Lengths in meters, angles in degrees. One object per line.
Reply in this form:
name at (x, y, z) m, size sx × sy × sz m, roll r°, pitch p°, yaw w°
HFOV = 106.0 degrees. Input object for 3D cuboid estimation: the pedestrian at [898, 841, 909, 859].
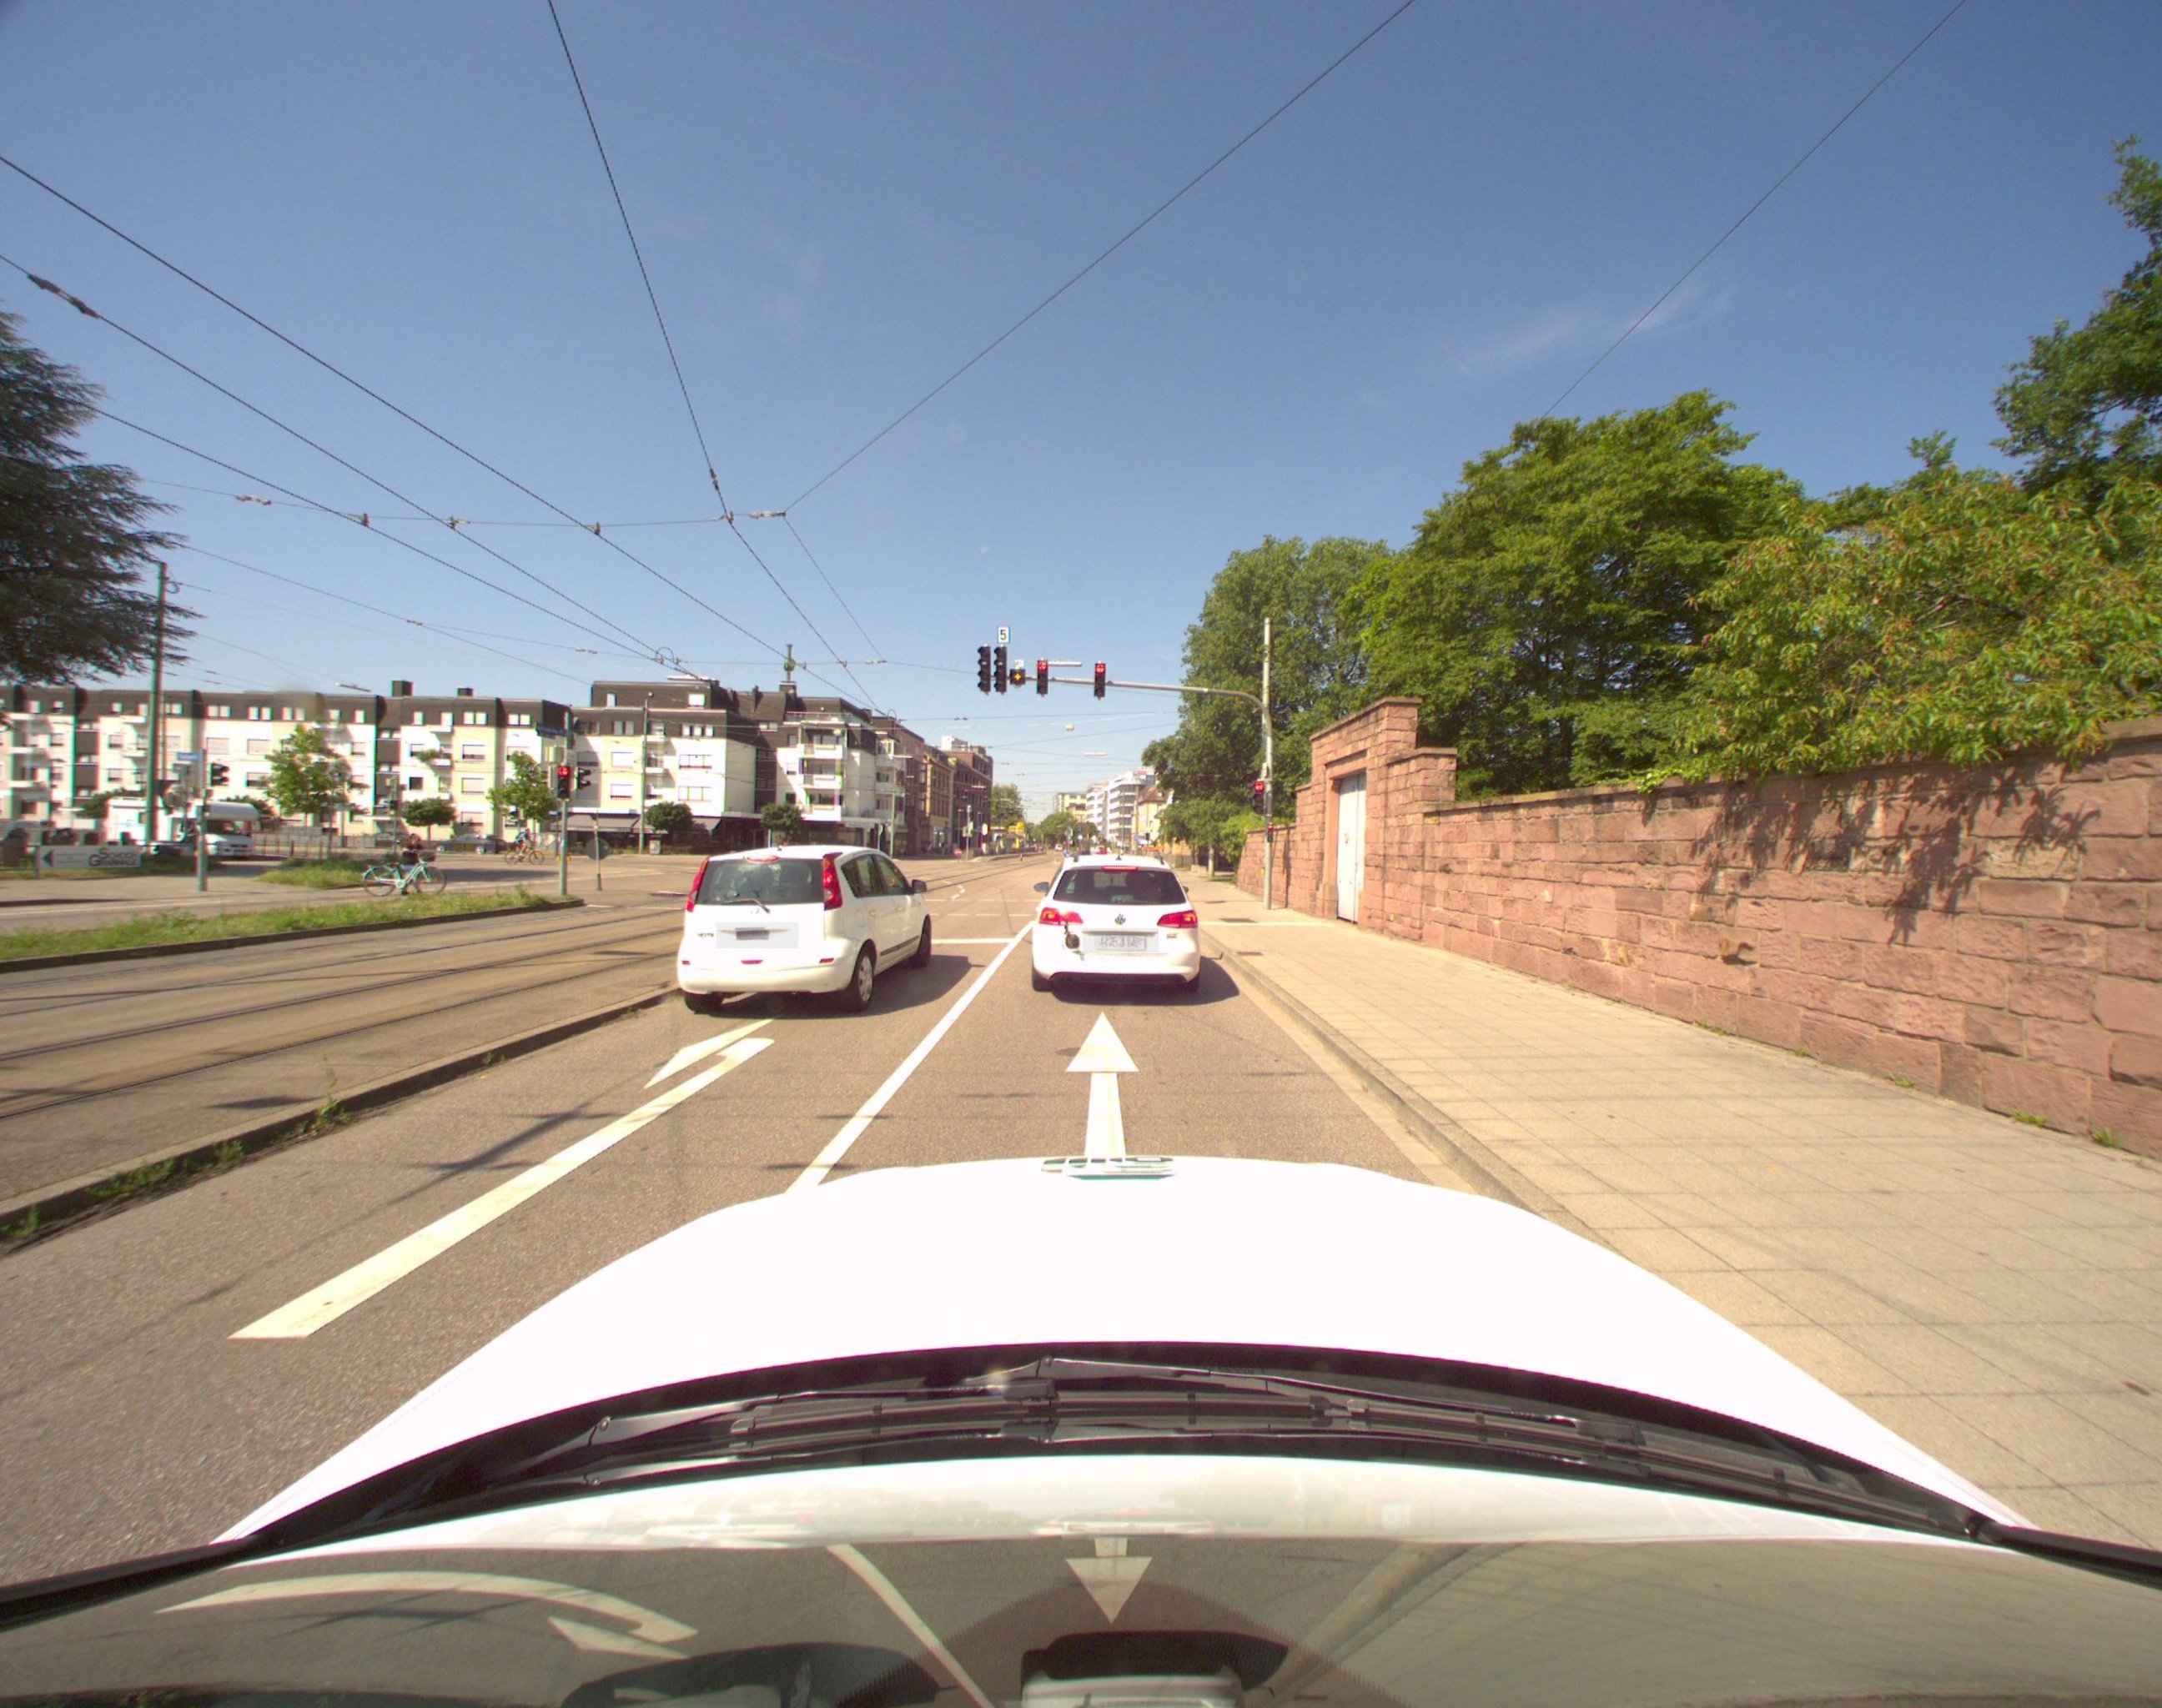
pedestrian at (-17.977, -0.382, 82.531) m, size 0.857 × 1.743 × 0.976 m, roll -1°, pitch -1°, yaw 6°

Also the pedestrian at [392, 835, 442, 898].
pedestrian at (-16.907, 0.313, 20.740) m, size 0.746 × 1.571 × 0.672 m, roll 1°, pitch 0°, yaw -13°

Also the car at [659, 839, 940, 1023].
car at (-2.758, 0.629, 8.922) m, size 1.636 × 1.566 × 3.805 m, roll 0°, pitch 1°, yaw 2°

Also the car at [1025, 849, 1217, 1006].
car at (0.436, 0.682, 9.672) m, size 1.801 × 1.448 × 4.002 m, roll 0°, pitch 0°, yaw 2°

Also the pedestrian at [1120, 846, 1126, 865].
pedestrian at (5.151, 0.140, 100.008) m, size 0.687 × 2.325 × 1.233 m, roll -1°, pitch -1°, yaw 3°

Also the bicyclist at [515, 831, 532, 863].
bicyclist at (-28.165, -0.347, 41.172) m, size 0.640 × 1.612 × 0.557 m, roll 0°, pitch -1°, yaw -28°

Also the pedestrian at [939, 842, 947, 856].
pedestrian at (-17.071, -0.608, 100.583) m, size 0.860 × 1.743 × 0.973 m, roll -1°, pitch -1°, yaw -4°

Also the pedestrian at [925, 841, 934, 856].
pedestrian at (-17.639, -0.658, 94.714) m, size 0.860 × 1.743 × 0.973 m, roll -1°, pitch -1°, yaw -4°

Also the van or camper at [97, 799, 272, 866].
van or camper at (-43.664, -1.010, 39.783) m, size 5.664 × 3.093 × 2.575 m, roll -1°, pitch -1°, yaw 1°

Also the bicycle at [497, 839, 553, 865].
bicycle at (-28.099, -0.092, 41.200) m, size 2.255 × 1.297 × 0.555 m, roll 0°, pitch -1°, yaw -29°

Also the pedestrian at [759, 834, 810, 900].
pedestrian at (-7.581, 0.335, 20.878) m, size 0.969 × 1.651 × 0.955 m, roll -1°, pitch -1°, yaw -3°

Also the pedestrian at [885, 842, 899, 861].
pedestrian at (-18.104, -0.243, 77.948) m, size 0.979 × 1.743 × 0.854 m, roll 0°, pitch -1°, yaw -38°

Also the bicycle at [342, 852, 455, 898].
bicycle at (-16.786, 0.522, 20.081) m, size 2.021 × 1.090 × 0.707 m, roll 1°, pitch 0°, yaw -13°
